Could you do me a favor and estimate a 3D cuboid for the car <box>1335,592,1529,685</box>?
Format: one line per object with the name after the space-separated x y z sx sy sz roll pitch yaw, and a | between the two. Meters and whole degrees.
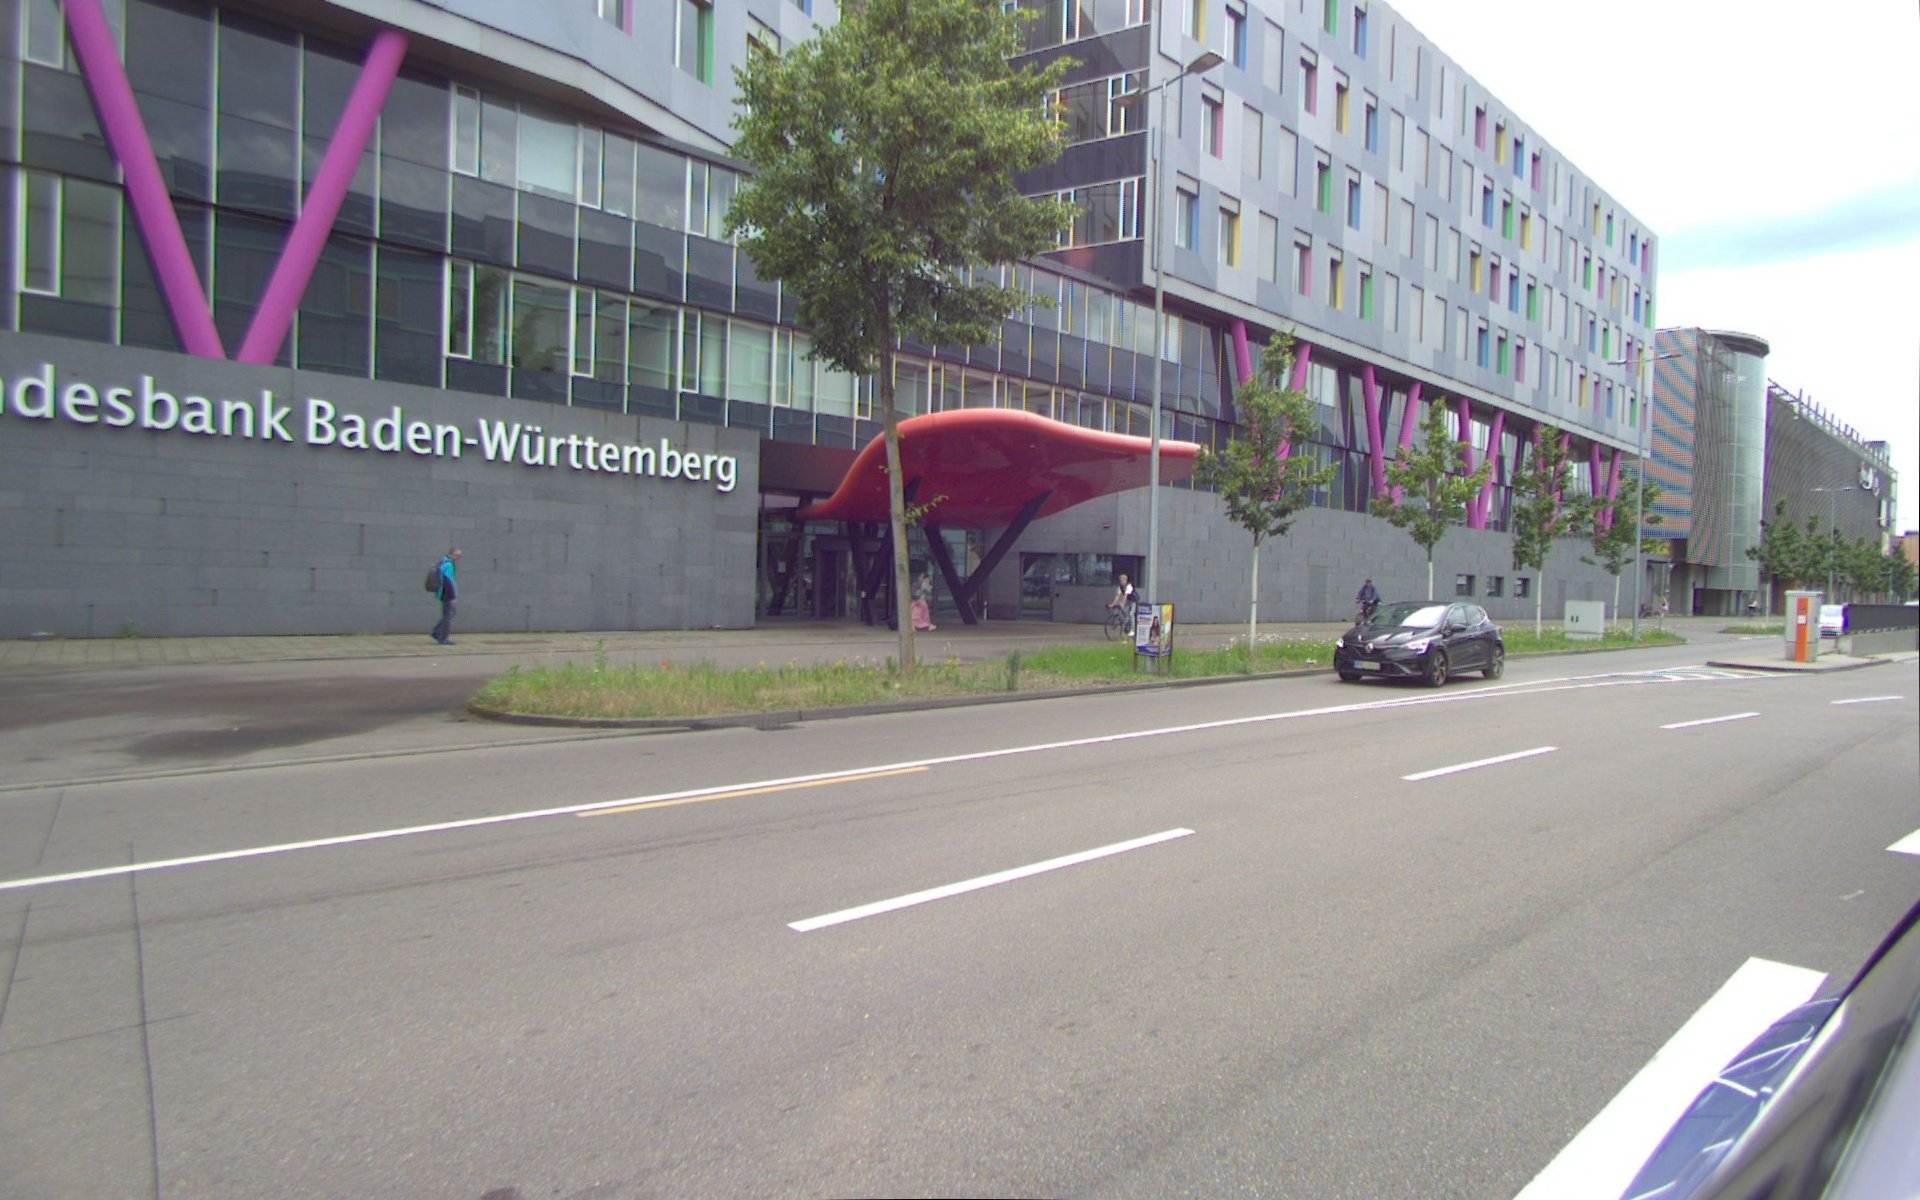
8.571 0.611 18.201 4.266 1.480 1.566 0 0 -41 | car

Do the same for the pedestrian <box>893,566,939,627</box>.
-1.183 -0.099 27.270 0.898 1.602 0.786 1 1 -40 | pedestrian

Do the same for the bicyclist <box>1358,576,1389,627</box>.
15.209 0.060 37.241 0.692 1.826 0.783 6 -3 -41 | bicyclist

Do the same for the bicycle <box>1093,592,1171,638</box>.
4.643 0.408 27.251 2.304 1.173 0.800 2 0 -42 | bicycle

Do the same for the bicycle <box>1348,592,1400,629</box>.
15.256 0.402 37.287 2.303 1.173 0.800 6 -3 -42 | bicycle

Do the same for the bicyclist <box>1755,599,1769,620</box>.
68.673 0.810 86.628 0.958 1.809 0.771 1 1 -44 | bicyclist

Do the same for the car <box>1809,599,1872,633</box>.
40.045 0.705 46.006 4.266 1.480 1.566 0 0 -41 | car

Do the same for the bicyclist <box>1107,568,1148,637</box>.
4.480 0.069 27.099 0.692 1.825 0.783 2 -1 -41 | bicyclist

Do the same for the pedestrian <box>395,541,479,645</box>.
-9.408 -0.139 18.198 1.116 1.792 1.054 1 1 -40 | pedestrian

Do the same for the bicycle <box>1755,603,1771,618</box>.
68.753 0.886 86.682 2.184 1.209 0.783 1 1 -44 | bicycle
